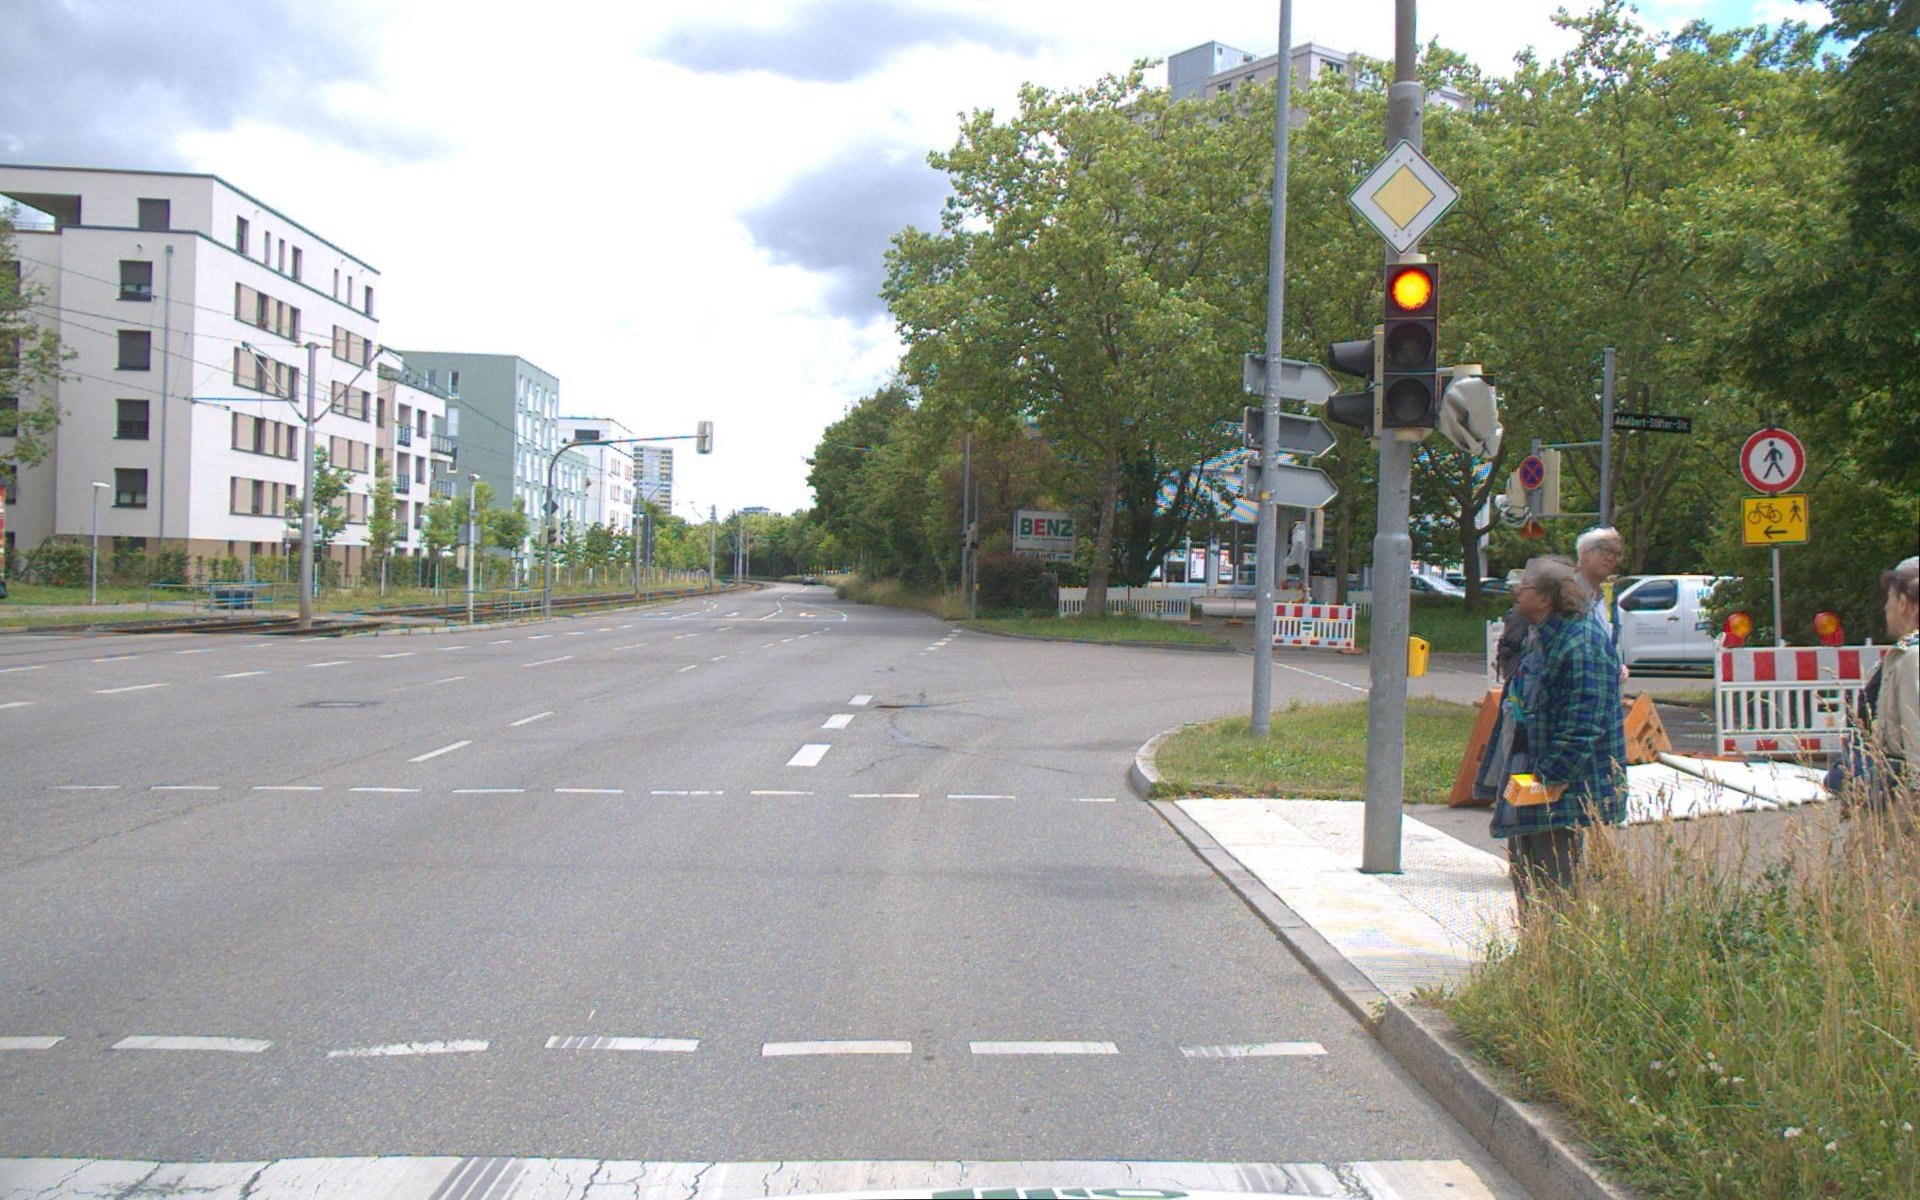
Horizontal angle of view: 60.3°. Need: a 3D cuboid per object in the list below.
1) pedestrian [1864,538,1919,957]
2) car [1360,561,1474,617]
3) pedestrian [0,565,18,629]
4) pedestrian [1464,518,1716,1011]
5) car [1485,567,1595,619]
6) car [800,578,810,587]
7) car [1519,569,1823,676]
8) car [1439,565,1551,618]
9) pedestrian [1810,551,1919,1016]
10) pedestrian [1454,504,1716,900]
[{"bbox_3d":[4.206,0.587,6.772,0.852,1.663,0.764,1,1,30],"label":"pedestrian"},{"bbox_3d":[17.490,-0.428,63.396,1.974,2.049,3.957,0,1,-32],"label":"car"},{"bbox_3d":[-23.233,-0.077,39.730,0.814,1.542,0.636,1,0,-1],"label":"pedestrian"},{"bbox_3d":[2.317,0.560,6.178,0.805,1.700,0.734,1,1,17],"label":"pedestrian"},{"bbox_3d":[23.896,-0.309,68.275,1.974,2.049,3.957,0,1,-32],"label":"car"},{"bbox_3d":[-24.549,-2.742,261.937,1.563,1.378,3.996,1,0,-5],"label":"car"},{"bbox_3d":[13.437,0.415,31.425,4.976,1.906,1.947,1,0,-5],"label":"car"},{"bbox_3d":[21.331,-0.356,66.035,1.974,2.049,3.957,0,1,-32],"label":"car"},{"bbox_3d":[3.672,0.658,6.231,0.807,1.668,0.732,1,1,28],"label":"pedestrian"},{"bbox_3d":[3.113,0.456,8.213,0.993,1.805,0.945,1,1,36],"label":"pedestrian"}]
